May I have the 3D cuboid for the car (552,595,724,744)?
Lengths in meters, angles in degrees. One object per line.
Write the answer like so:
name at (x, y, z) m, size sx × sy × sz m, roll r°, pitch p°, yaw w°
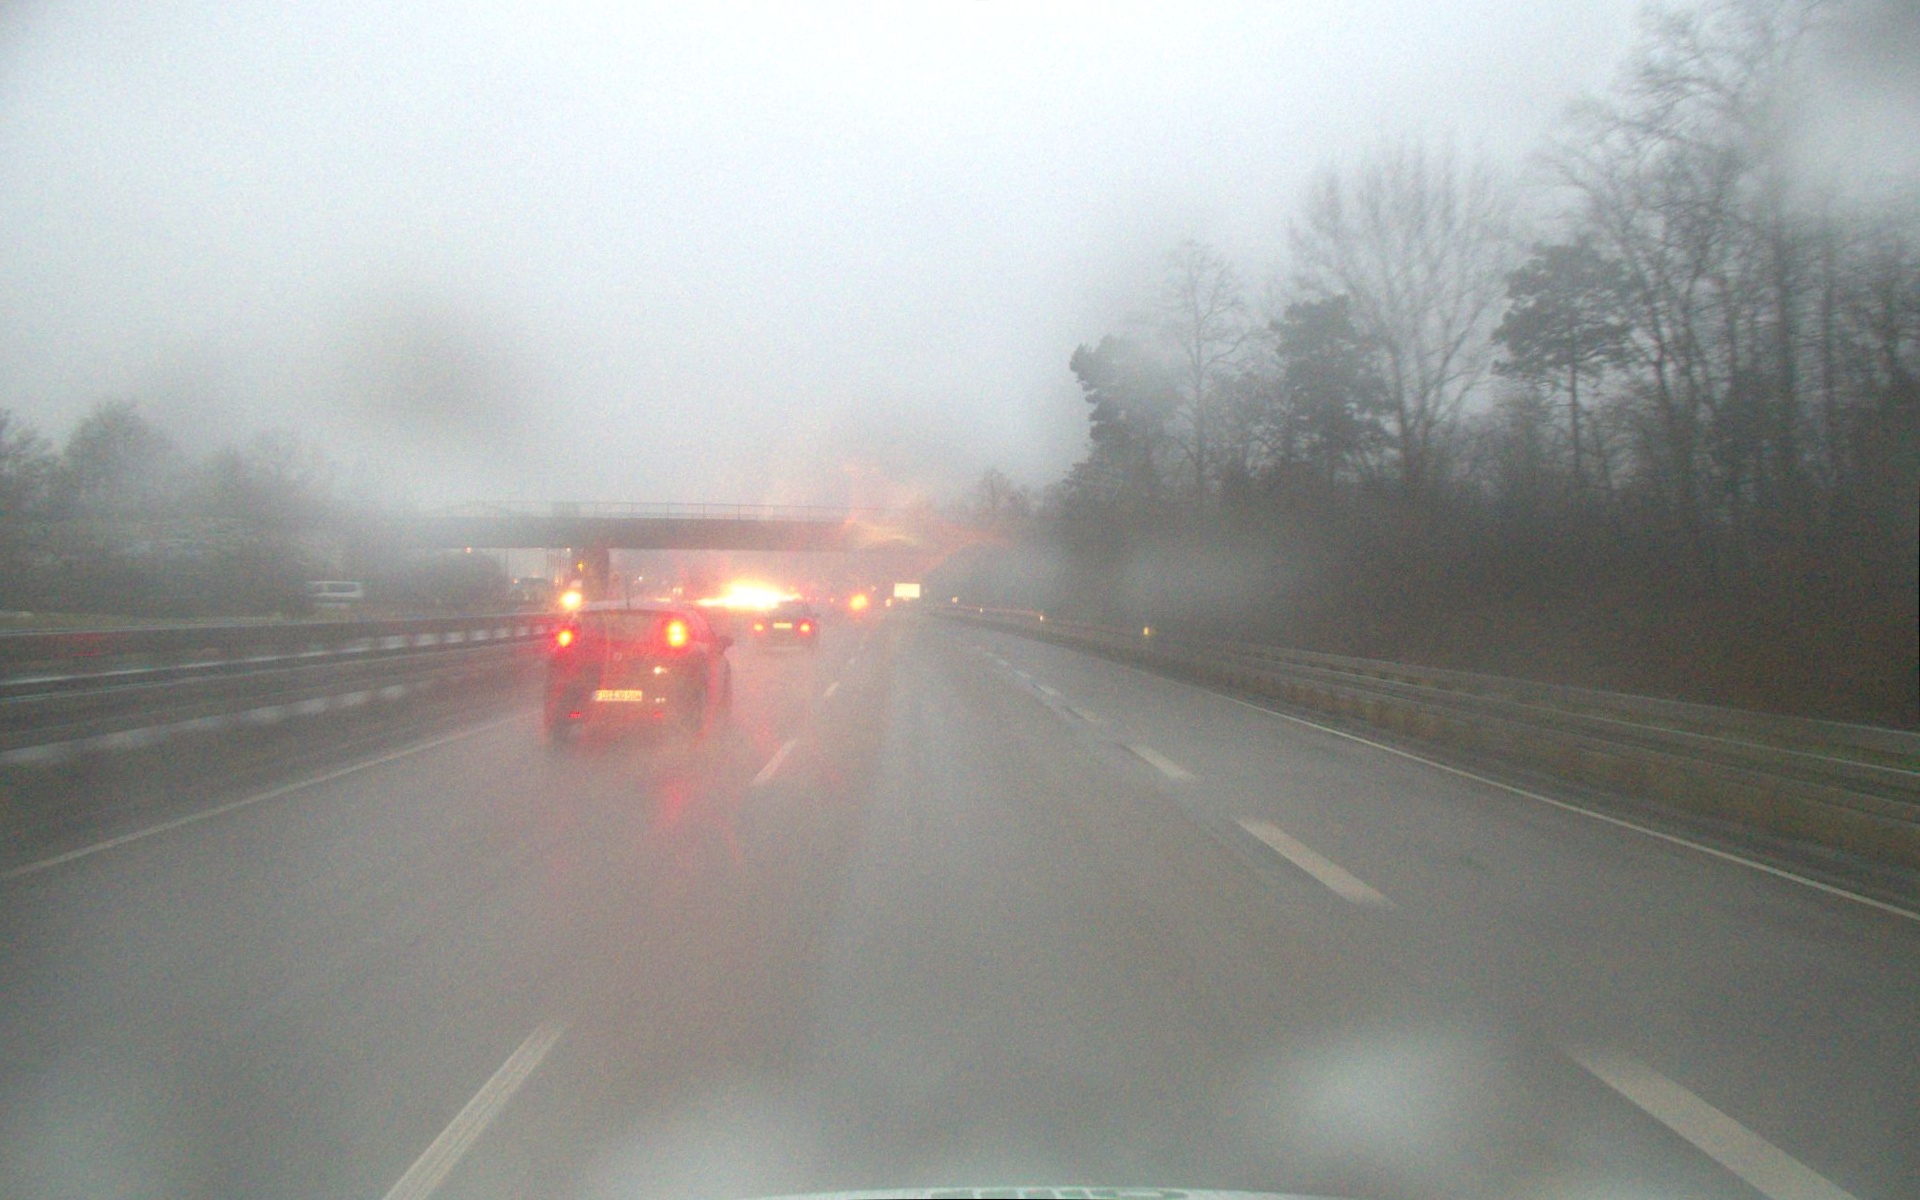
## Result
car at (-3.585, 0.723, 18.897) m, size 1.498 × 1.440 × 3.475 m, roll 3°, pitch 0°, yaw -5°

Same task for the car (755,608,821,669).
car at (-4.770, 1.043, 46.304) m, size 1.741 × 1.561 × 4.697 m, roll -1°, pitch 0°, yaw -5°
